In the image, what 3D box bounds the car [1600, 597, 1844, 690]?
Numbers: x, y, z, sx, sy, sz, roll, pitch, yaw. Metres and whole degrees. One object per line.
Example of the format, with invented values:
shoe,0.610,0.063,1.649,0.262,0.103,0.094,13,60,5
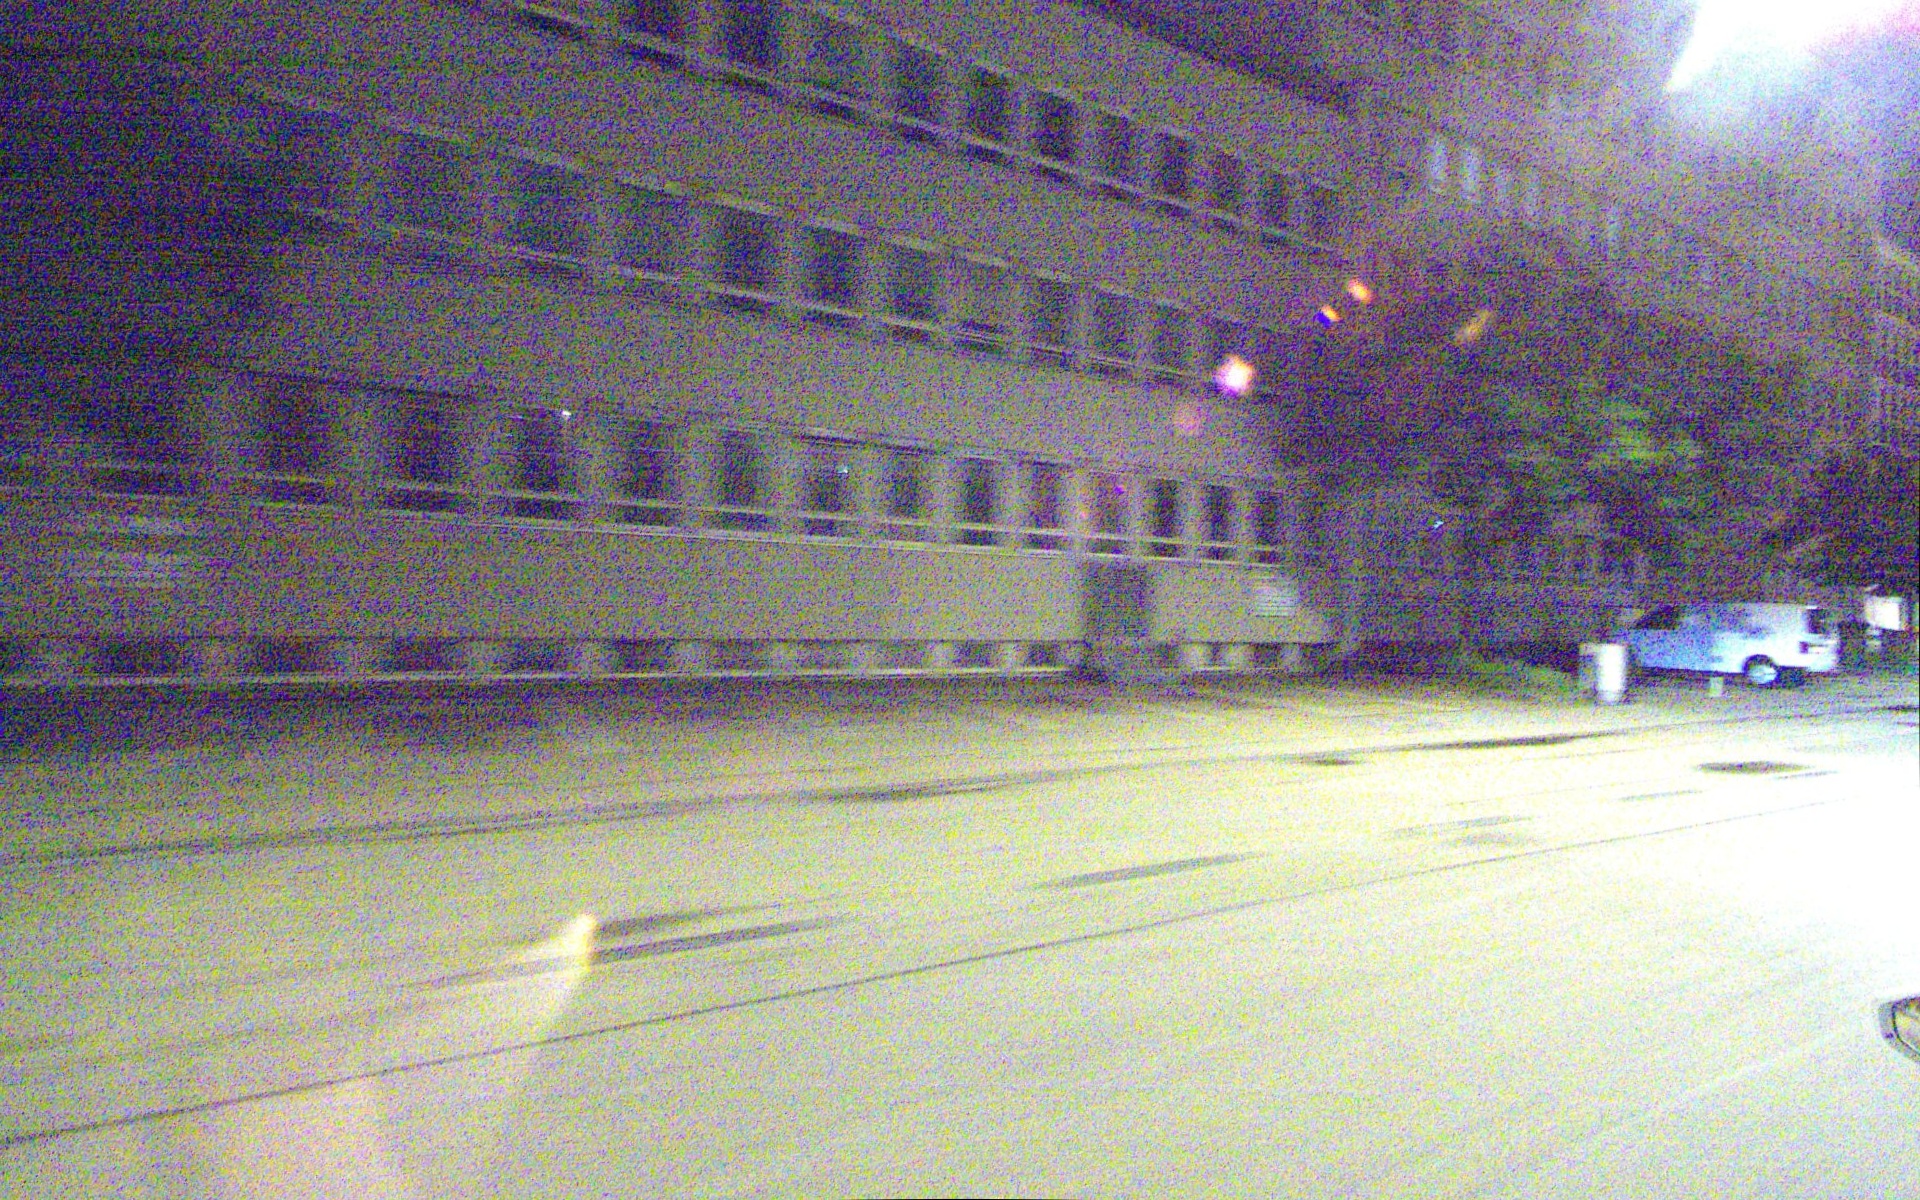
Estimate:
car,18.860,1.004,25.093,1.976,1.998,4.411,1,1,-30
